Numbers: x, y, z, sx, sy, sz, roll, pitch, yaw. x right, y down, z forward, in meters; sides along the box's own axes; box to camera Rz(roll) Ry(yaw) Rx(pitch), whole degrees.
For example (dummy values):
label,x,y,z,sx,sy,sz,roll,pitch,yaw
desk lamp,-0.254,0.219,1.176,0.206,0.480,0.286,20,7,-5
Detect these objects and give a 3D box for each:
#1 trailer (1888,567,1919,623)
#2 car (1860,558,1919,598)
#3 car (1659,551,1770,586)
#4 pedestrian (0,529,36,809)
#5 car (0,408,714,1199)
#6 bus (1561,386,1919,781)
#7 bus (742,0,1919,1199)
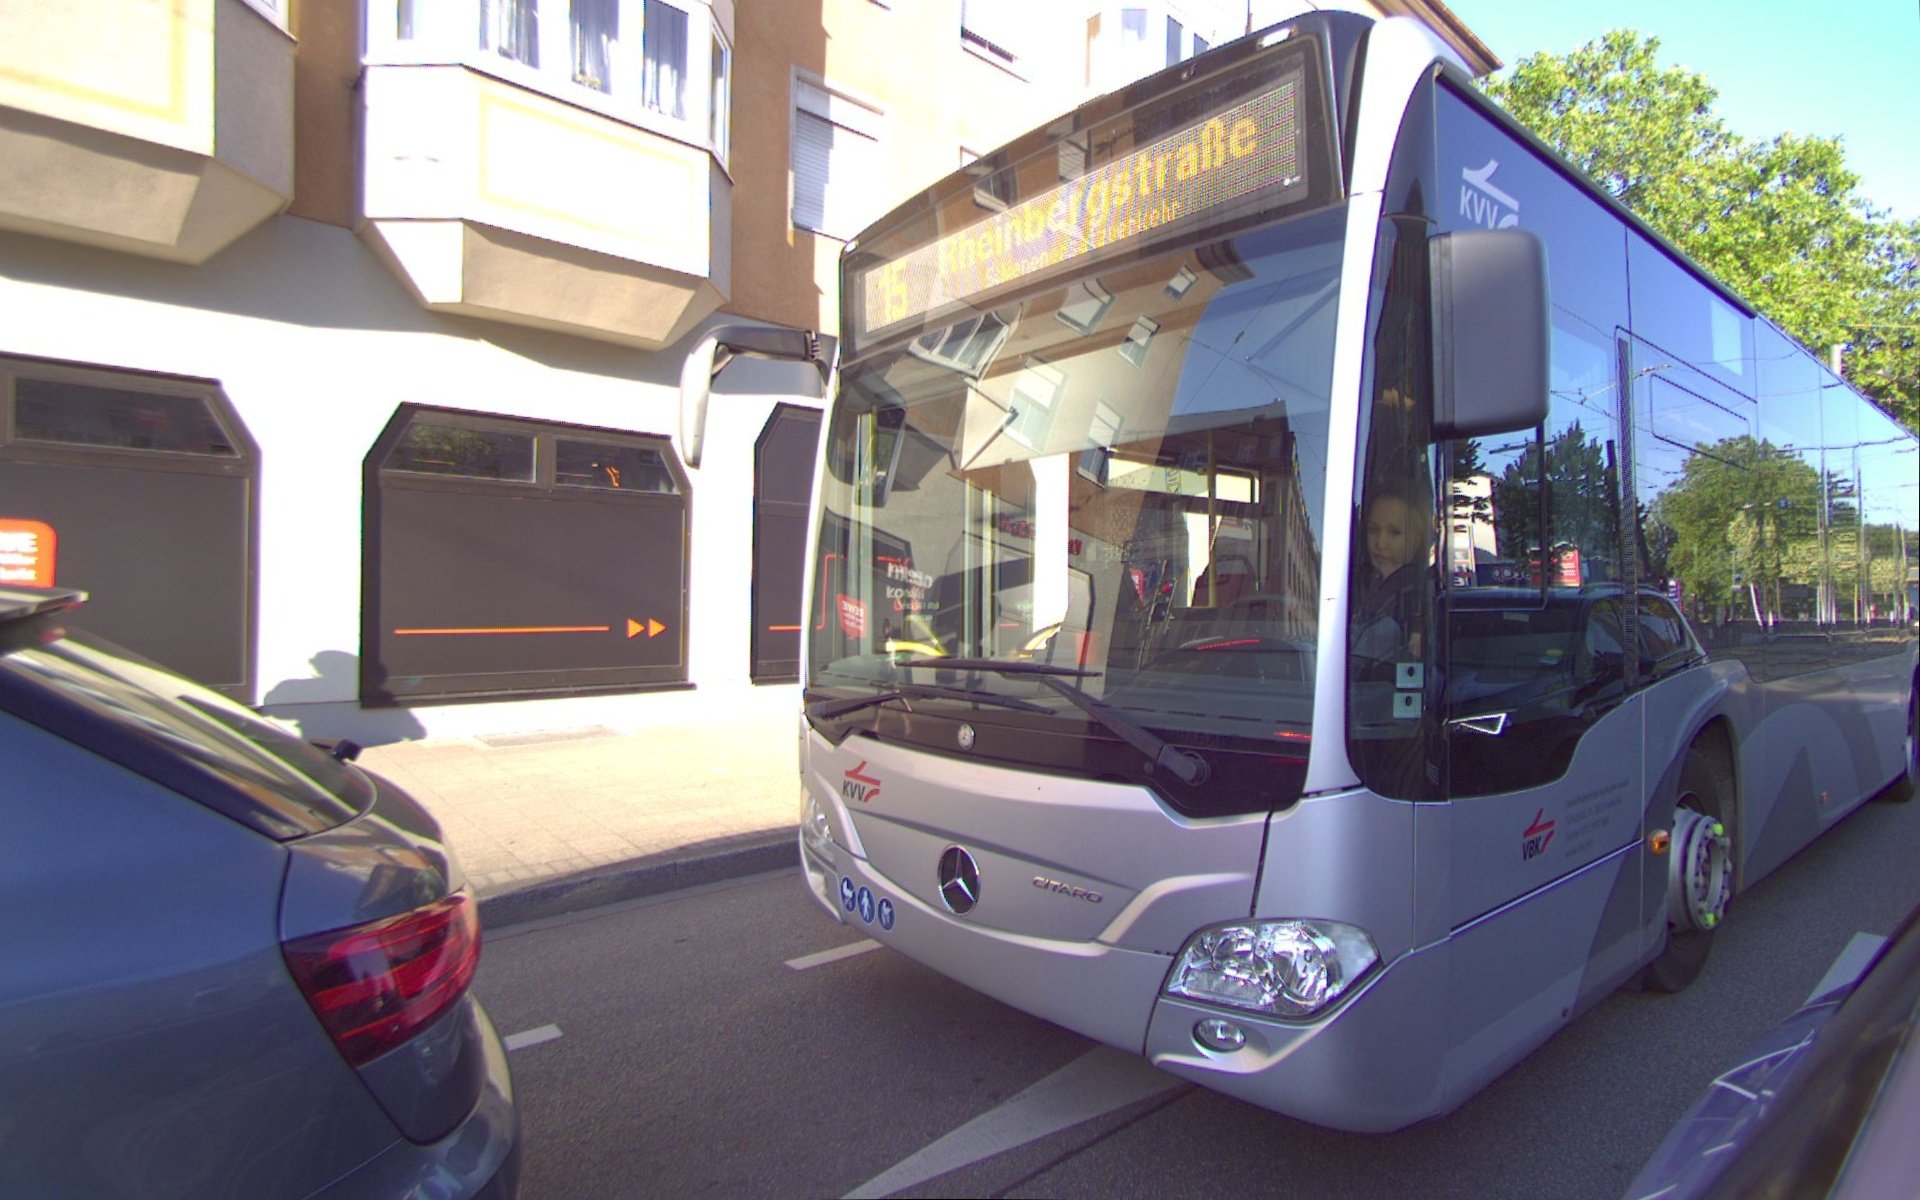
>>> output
label,x,y,z,sx,sy,sz,roll,pitch,yaw
trailer,46.477,-0.239,48.906,4.569,2.620,1.888,0,1,-41
car,41.425,-0.957,44.838,3.930,1.650,1.799,1,2,-41
car,37.455,-1.539,50.338,1.770,1.570,4.120,0,-1,-39
pedestrian,-5.640,0.374,5.554,0.816,1.544,0.440,0,1,-41
car,-2.441,0.591,0.767,4.014,1.595,1.773,0,2,-41
bus,10.026,-0.134,11.681,8.698,3.094,2.743,0,0,-41
bus,3.402,-0.131,5.914,8.971,3.094,2.743,0,0,-41
